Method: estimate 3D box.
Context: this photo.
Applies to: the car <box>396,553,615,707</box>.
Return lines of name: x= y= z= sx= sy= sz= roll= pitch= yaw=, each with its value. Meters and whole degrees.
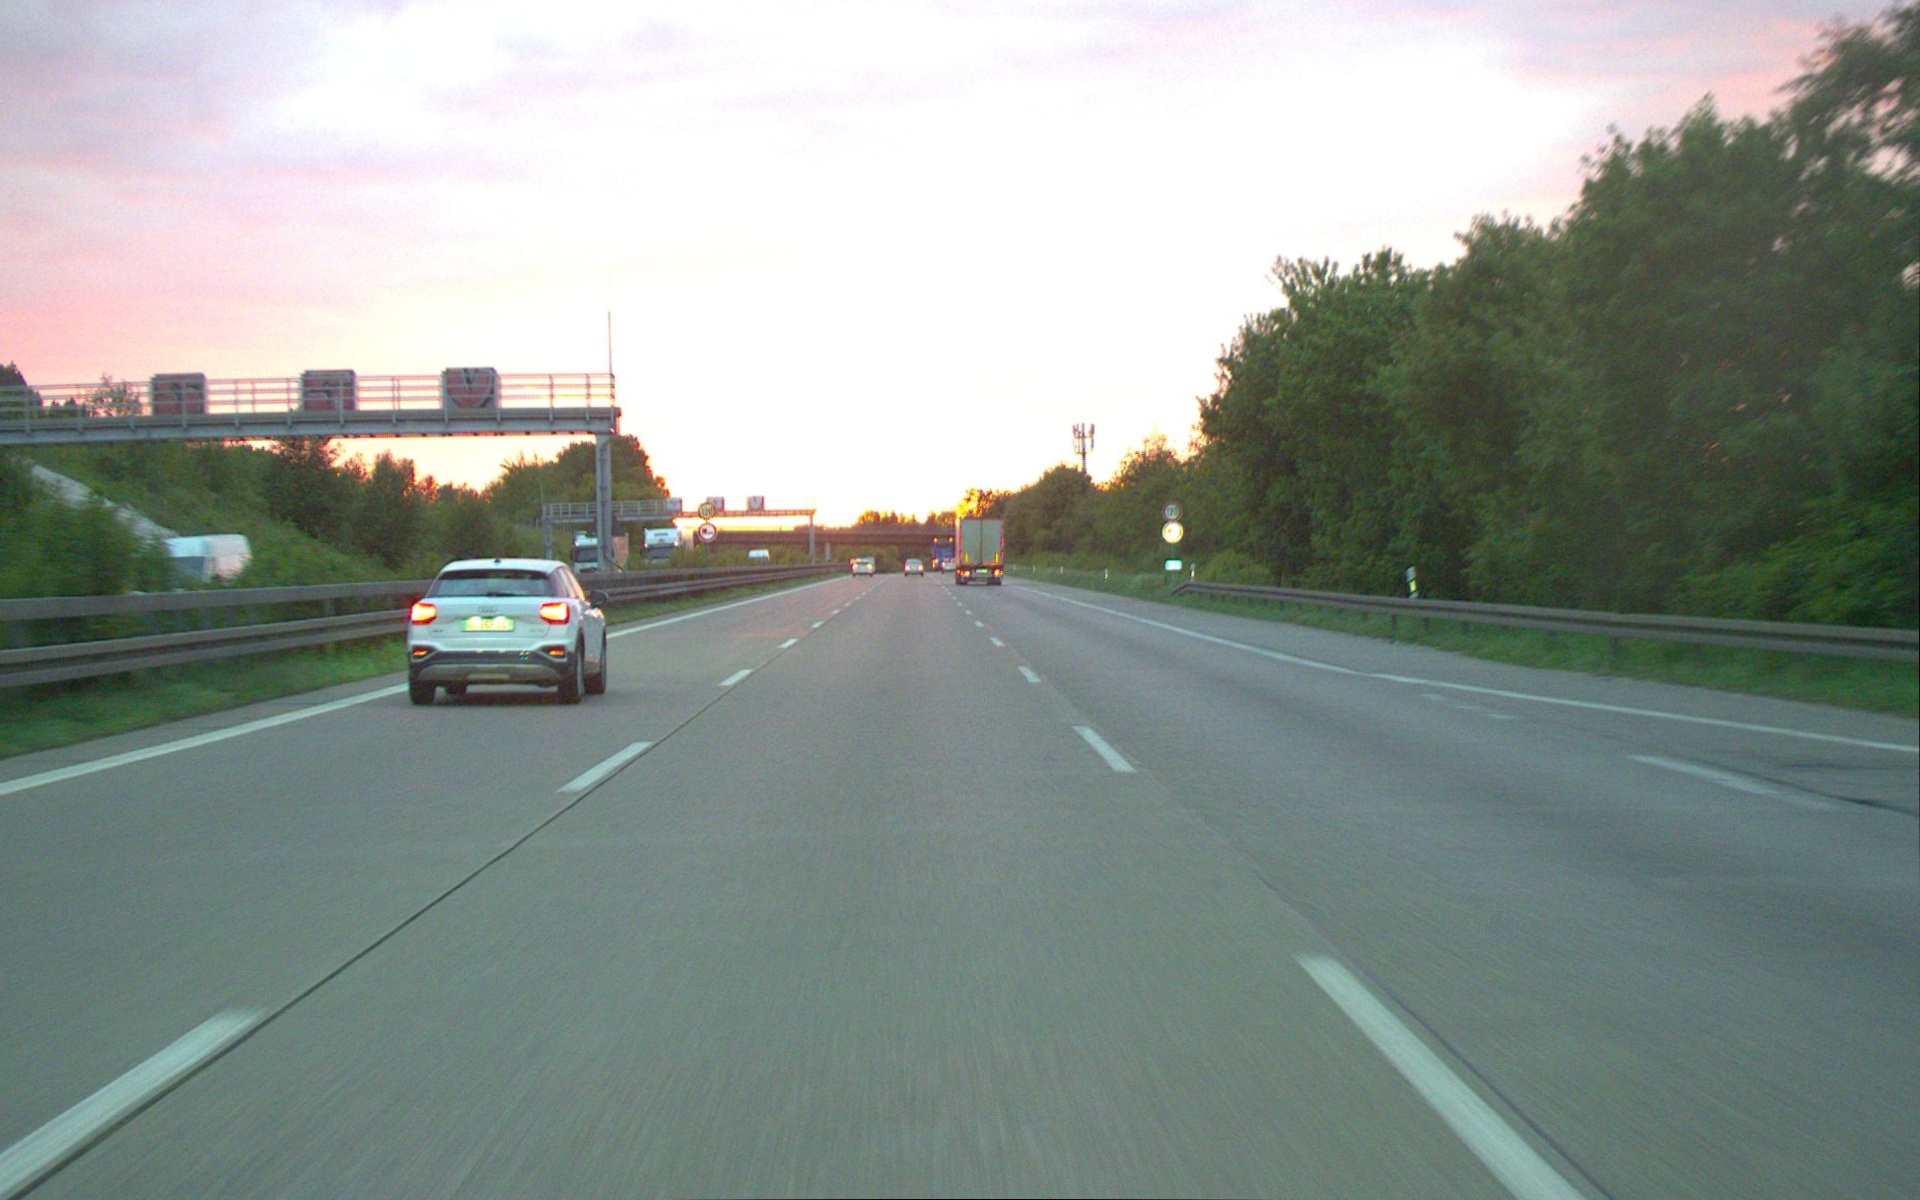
car: x=-4.826 y=0.269 z=37.115 sx=1.789 sy=1.495 sz=5.038 roll=1 pitch=1 yaw=-1

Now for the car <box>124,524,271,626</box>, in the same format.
car: x=-18.280 y=-0.621 z=82.707 sx=2.137 sy=2.351 sz=6.720 roll=0 pitch=1 yaw=-1

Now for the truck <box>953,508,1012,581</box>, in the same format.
truck: x=1.325 y=-3.213 z=200.943 sx=3.244 sy=4.113 sz=9.786 roll=-1 pitch=1 yaw=0

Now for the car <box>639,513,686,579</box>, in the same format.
car: x=-20.599 y=-3.733 z=238.364 sx=2.798 sy=4.472 sz=5.930 roll=0 pitch=1 yaw=-1

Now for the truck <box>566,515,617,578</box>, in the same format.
truck: x=-25.131 y=-3.631 z=234.719 sx=2.856 sy=4.196 sz=5.864 roll=-1 pitch=1 yaw=0
